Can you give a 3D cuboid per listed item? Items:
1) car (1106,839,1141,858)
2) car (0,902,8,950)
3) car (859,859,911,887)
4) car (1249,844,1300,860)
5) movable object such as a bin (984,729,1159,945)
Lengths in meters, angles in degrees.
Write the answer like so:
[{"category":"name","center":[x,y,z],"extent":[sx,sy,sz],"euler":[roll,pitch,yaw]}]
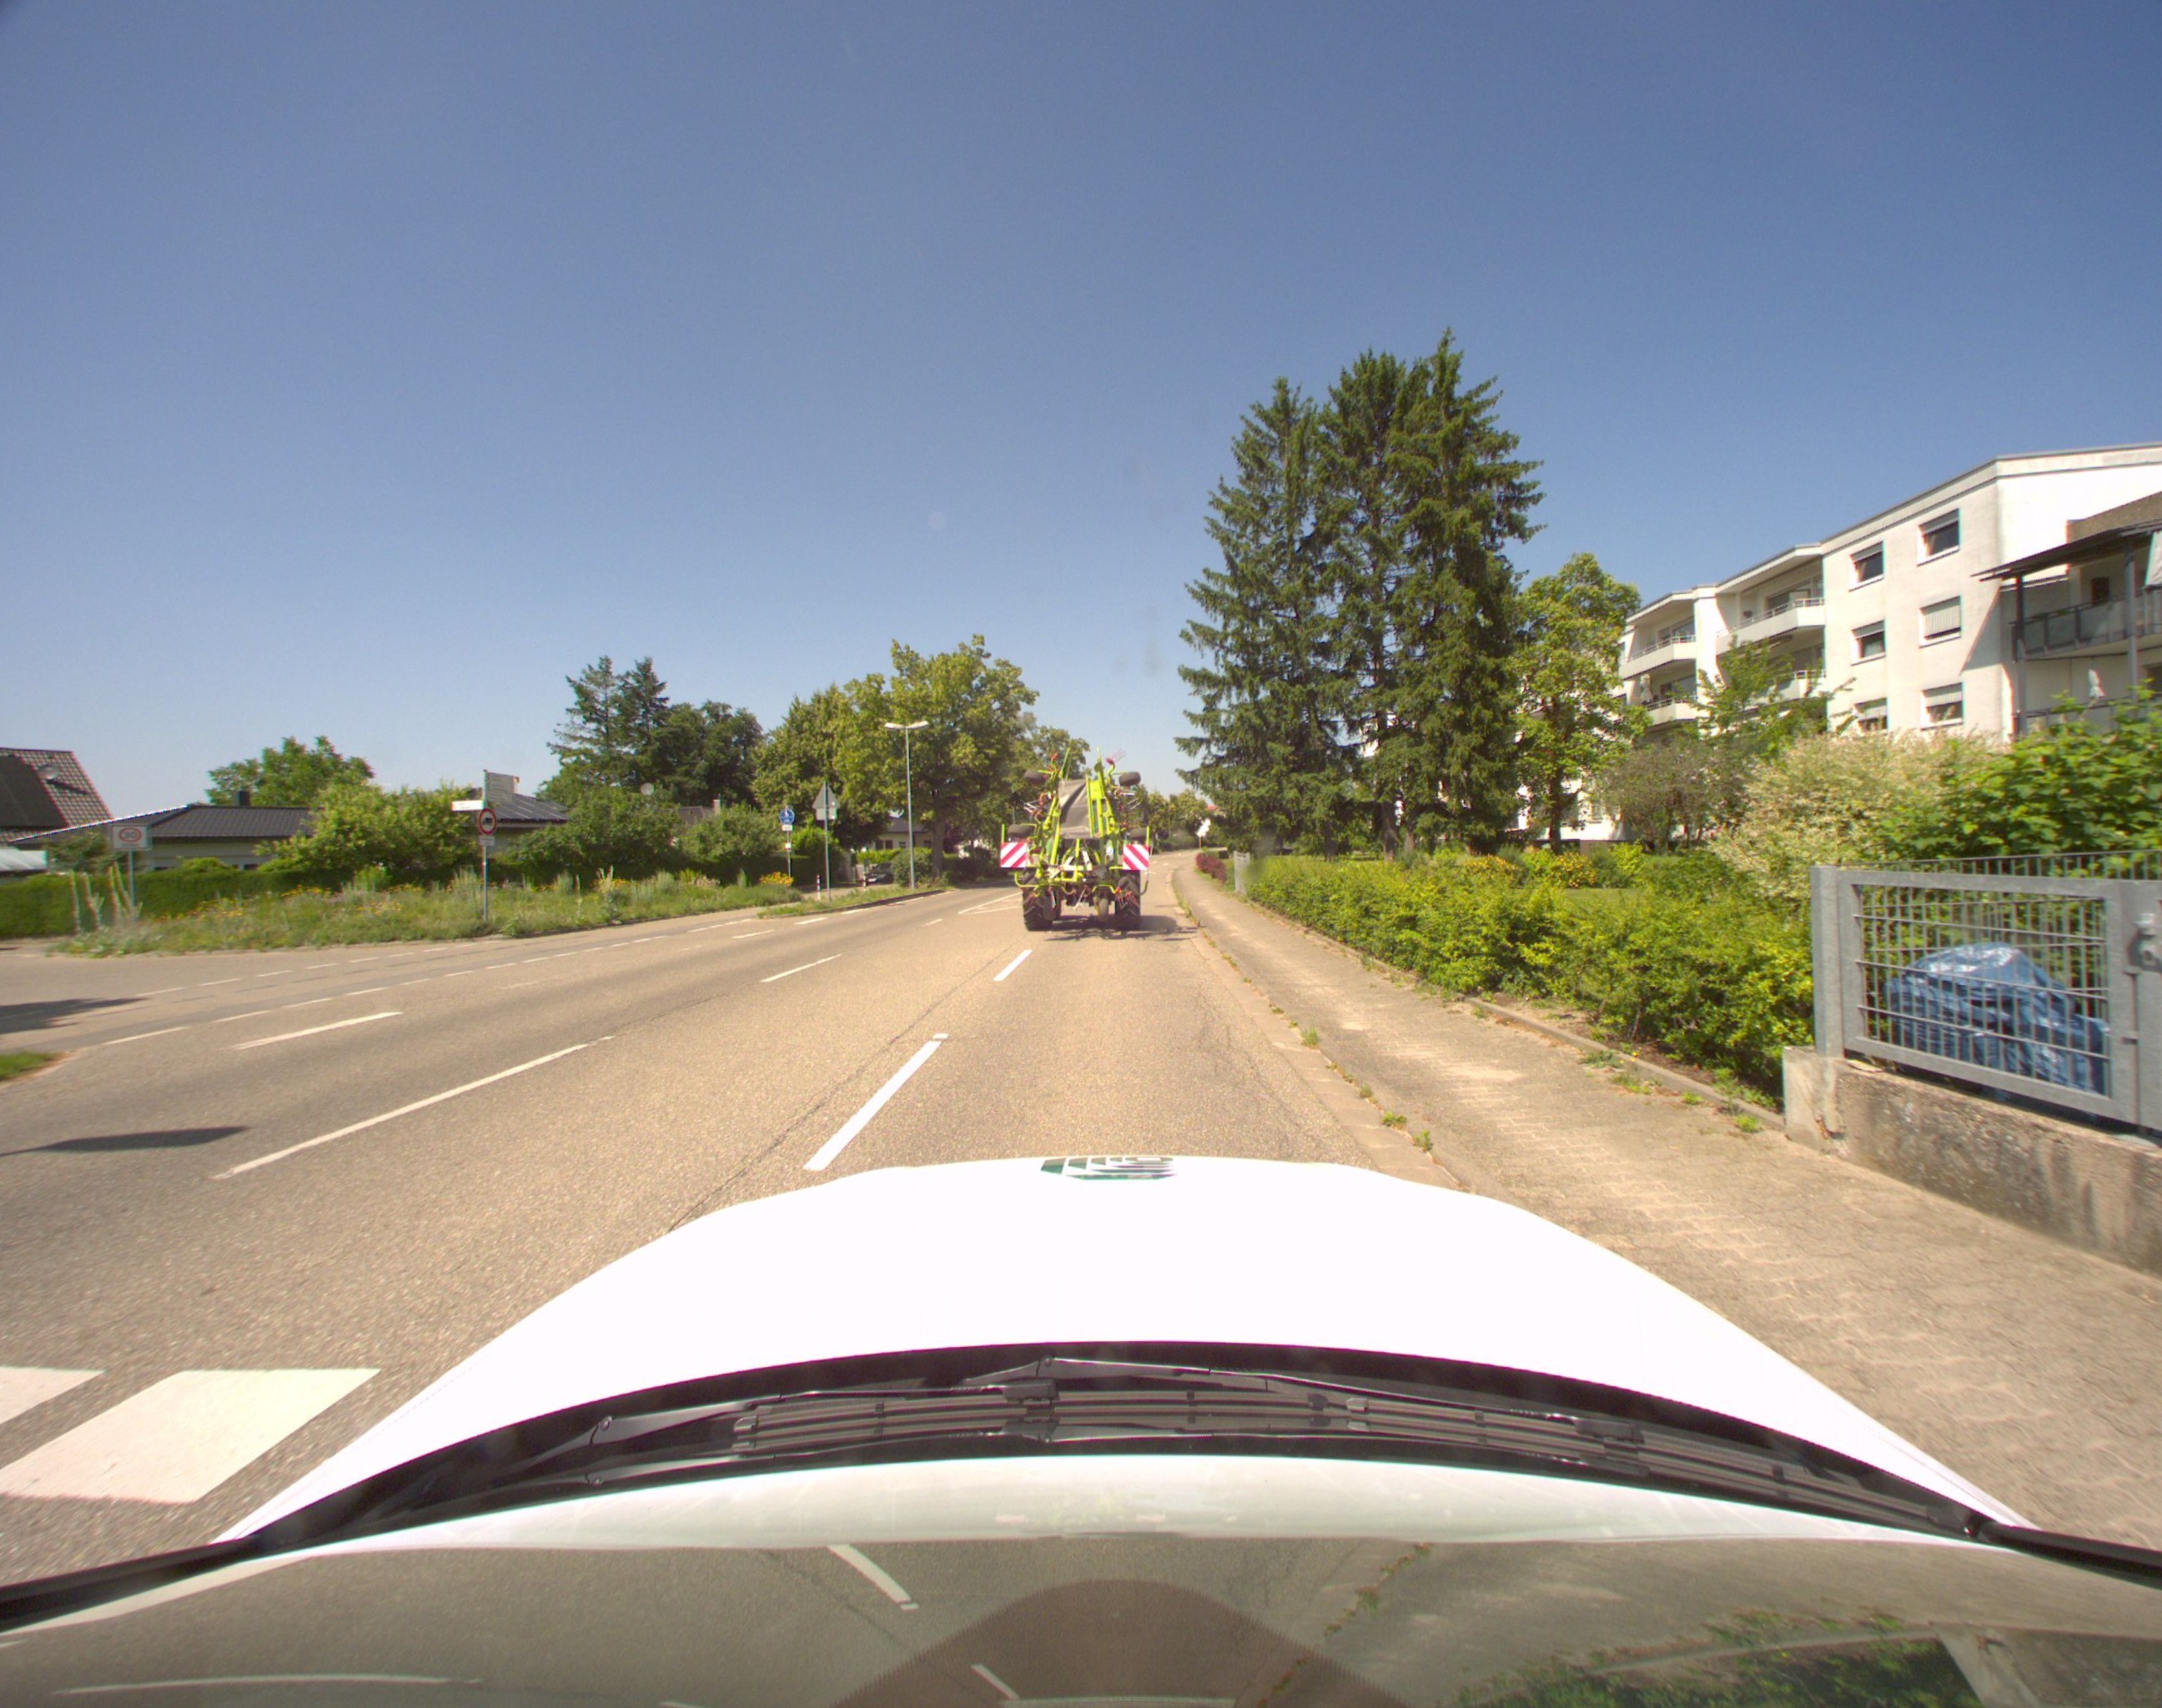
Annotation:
[{"category":"car","center":[4.043,-0.486,76.923],"extent":[1.840,1.715,4.023],"euler":[-2,0,25]},{"category":"car","center":[-36.370,2.428,25.089],"extent":[3.974,1.518,1.882],"euler":[-3,2,0]},{"category":"car","center":[-11.907,1.128,49.751],"extent":[1.679,1.530,4.010],"euler":[-1,0,8]},{"category":"car","center":[16.191,-0.161,68.342],"extent":[3.811,1.294,1.678],"euler":[-1,0,-10]},{"category":"movable object such as a bin","center":[0.100,-0.270,18.464],"extent":[2.841,3.541,9.708],"euler":[-2,0,3]}]
